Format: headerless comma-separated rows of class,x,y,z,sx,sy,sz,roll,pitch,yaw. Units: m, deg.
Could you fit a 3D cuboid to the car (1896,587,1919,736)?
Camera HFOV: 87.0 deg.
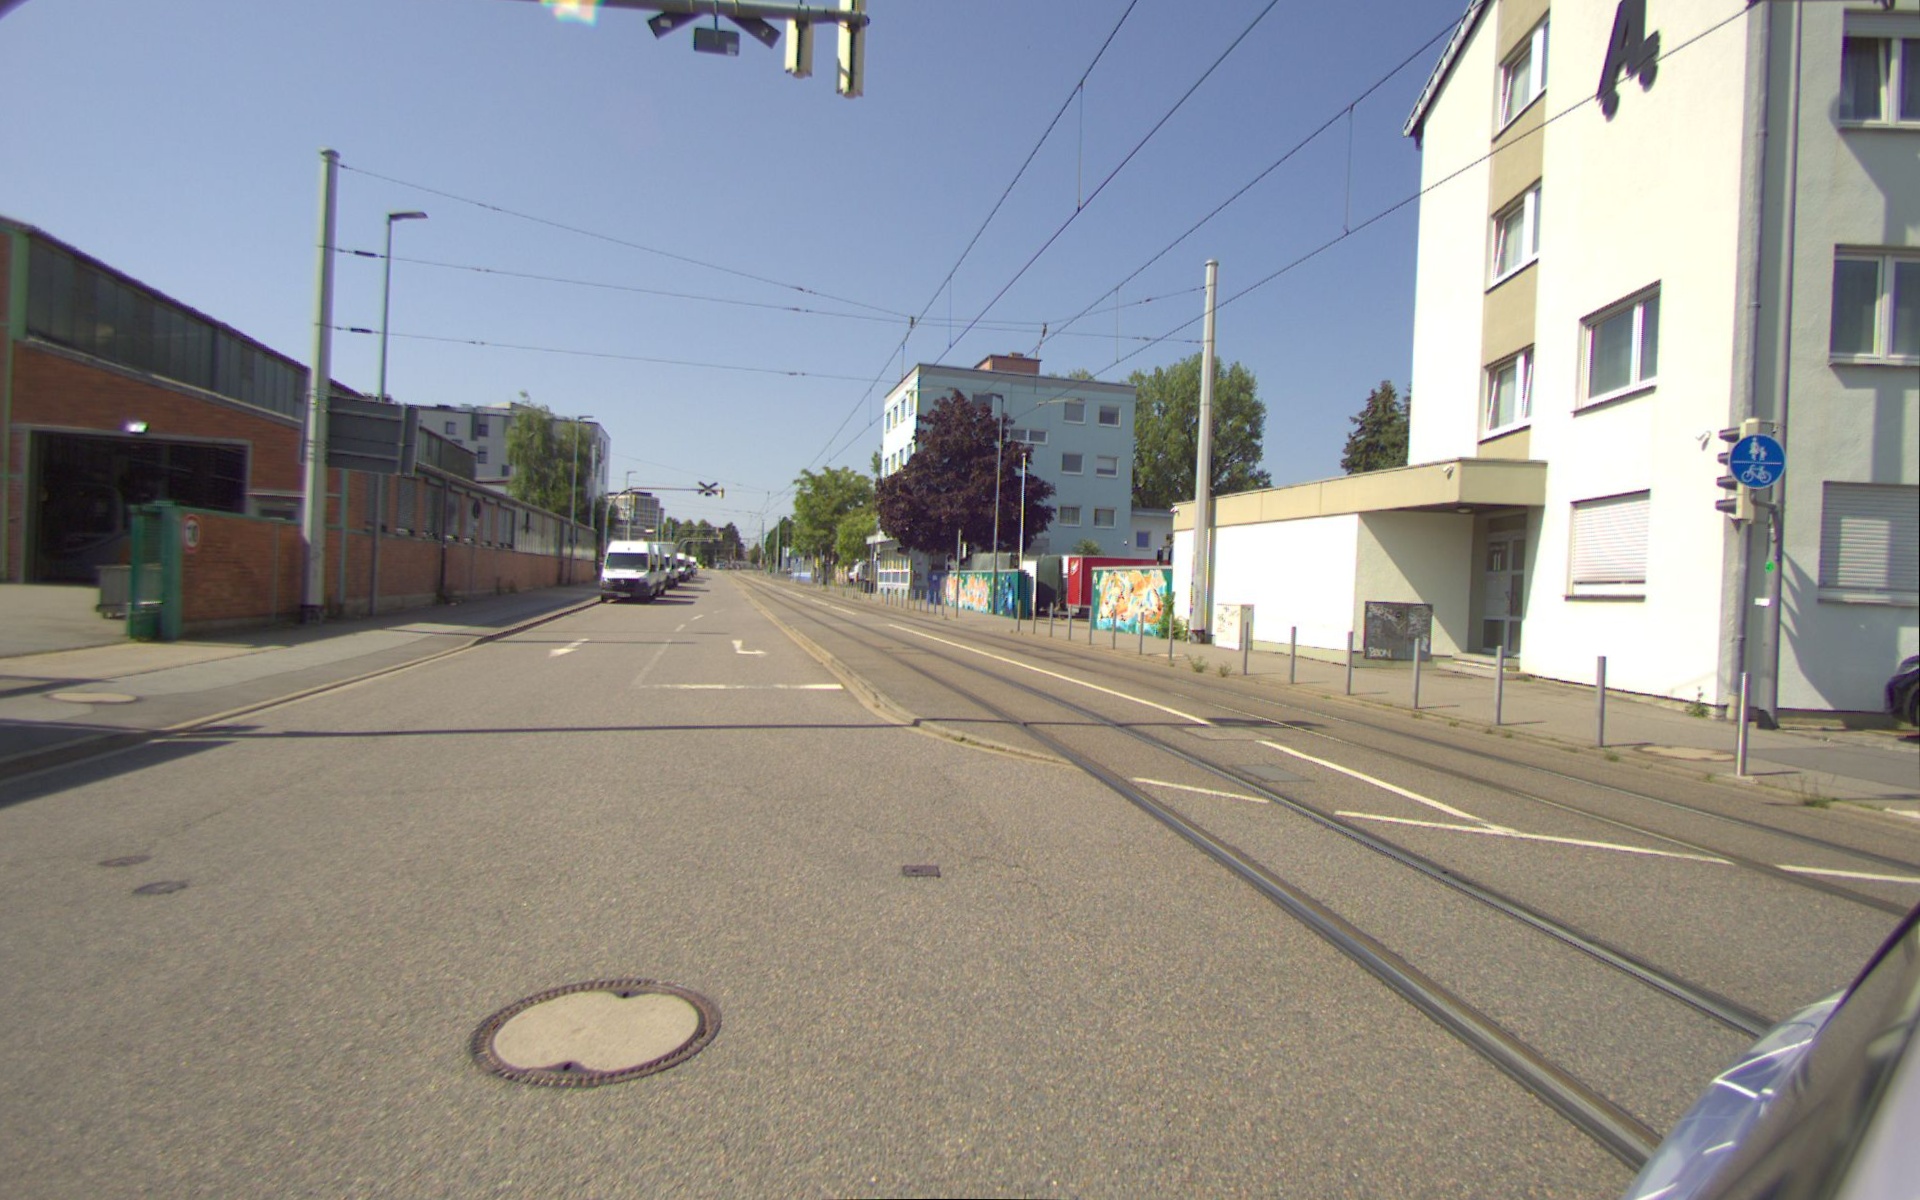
car,11.459,0.727,9.127,1.840,1.540,3.983,2,1,-20

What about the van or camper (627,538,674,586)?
van or camper,-19.809,-2.410,65.031,2.471,2.821,7.133,2,1,-15

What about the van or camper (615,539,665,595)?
van or camper,-15.944,-1.669,50.644,2.001,2.565,5.595,2,1,-14

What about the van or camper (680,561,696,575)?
van or camper,-40.653,-4.803,151.312,1.958,2.038,4.009,2,1,-12

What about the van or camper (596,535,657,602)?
van or camper,-14.168,-1.343,43.304,2.001,2.565,5.883,2,1,-14

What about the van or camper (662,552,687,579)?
van or camper,-25.452,-3.112,90.218,1.916,2.239,4.920,2,1,-17

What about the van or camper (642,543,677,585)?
van or camper,-21.324,-2.566,71.940,2.131,2.821,4.742,2,1,-15

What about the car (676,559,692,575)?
car,-36.527,-4.355,133.945,1.788,2.038,3.844,2,1,-14

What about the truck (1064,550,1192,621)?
truck,6.981,-0.606,42.379,4.735,2.659,2.193,2,1,-8

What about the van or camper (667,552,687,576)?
van or camper,-28.731,-3.639,102.646,1.787,2.239,4.270,2,1,-17
